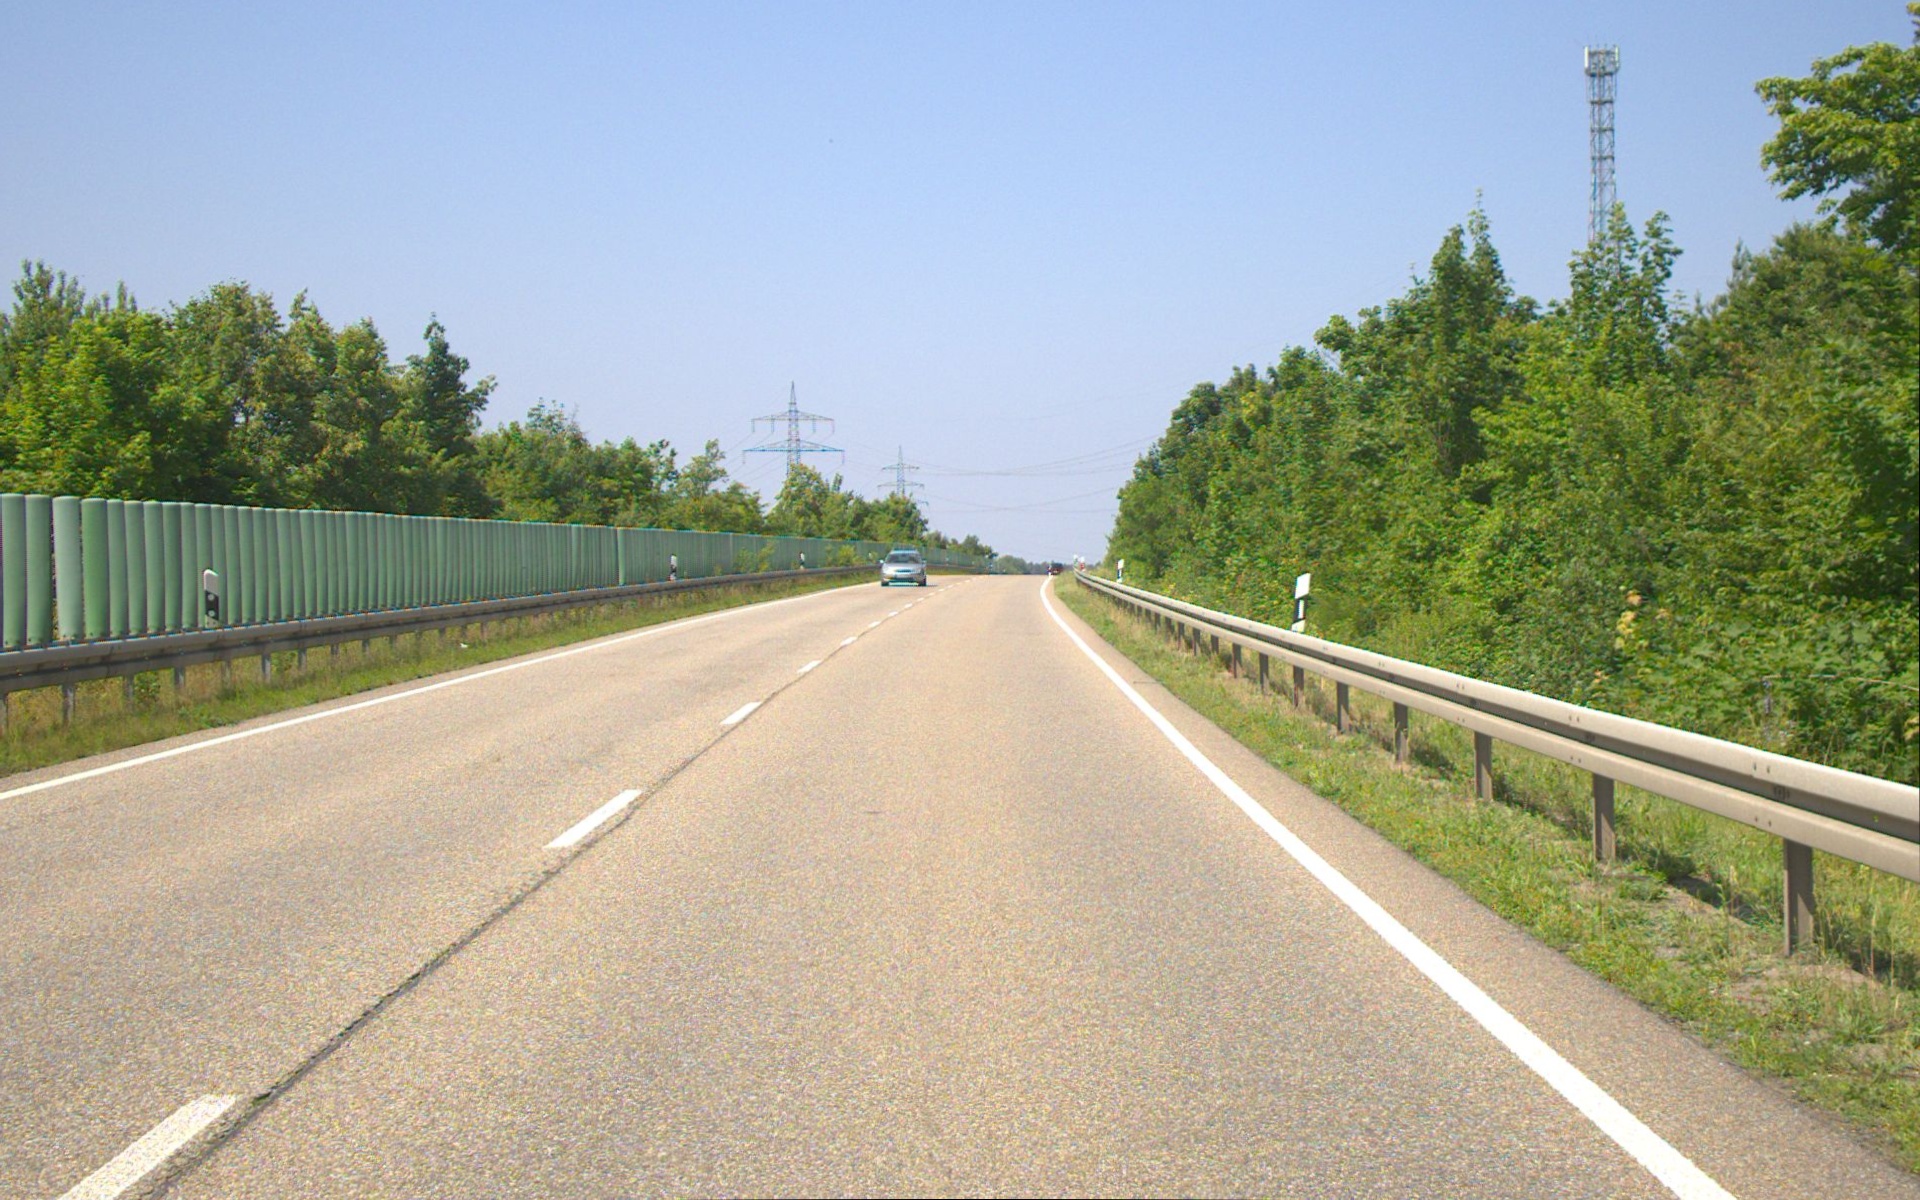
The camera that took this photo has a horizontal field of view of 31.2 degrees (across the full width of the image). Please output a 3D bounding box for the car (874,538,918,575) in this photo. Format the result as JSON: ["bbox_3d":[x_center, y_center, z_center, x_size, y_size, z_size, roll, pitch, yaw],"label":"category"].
[{"bbox_3d":[-2.618,-1.800,141.317,1.720,1.496,4.248,0,1,0],"label":"car"}]
